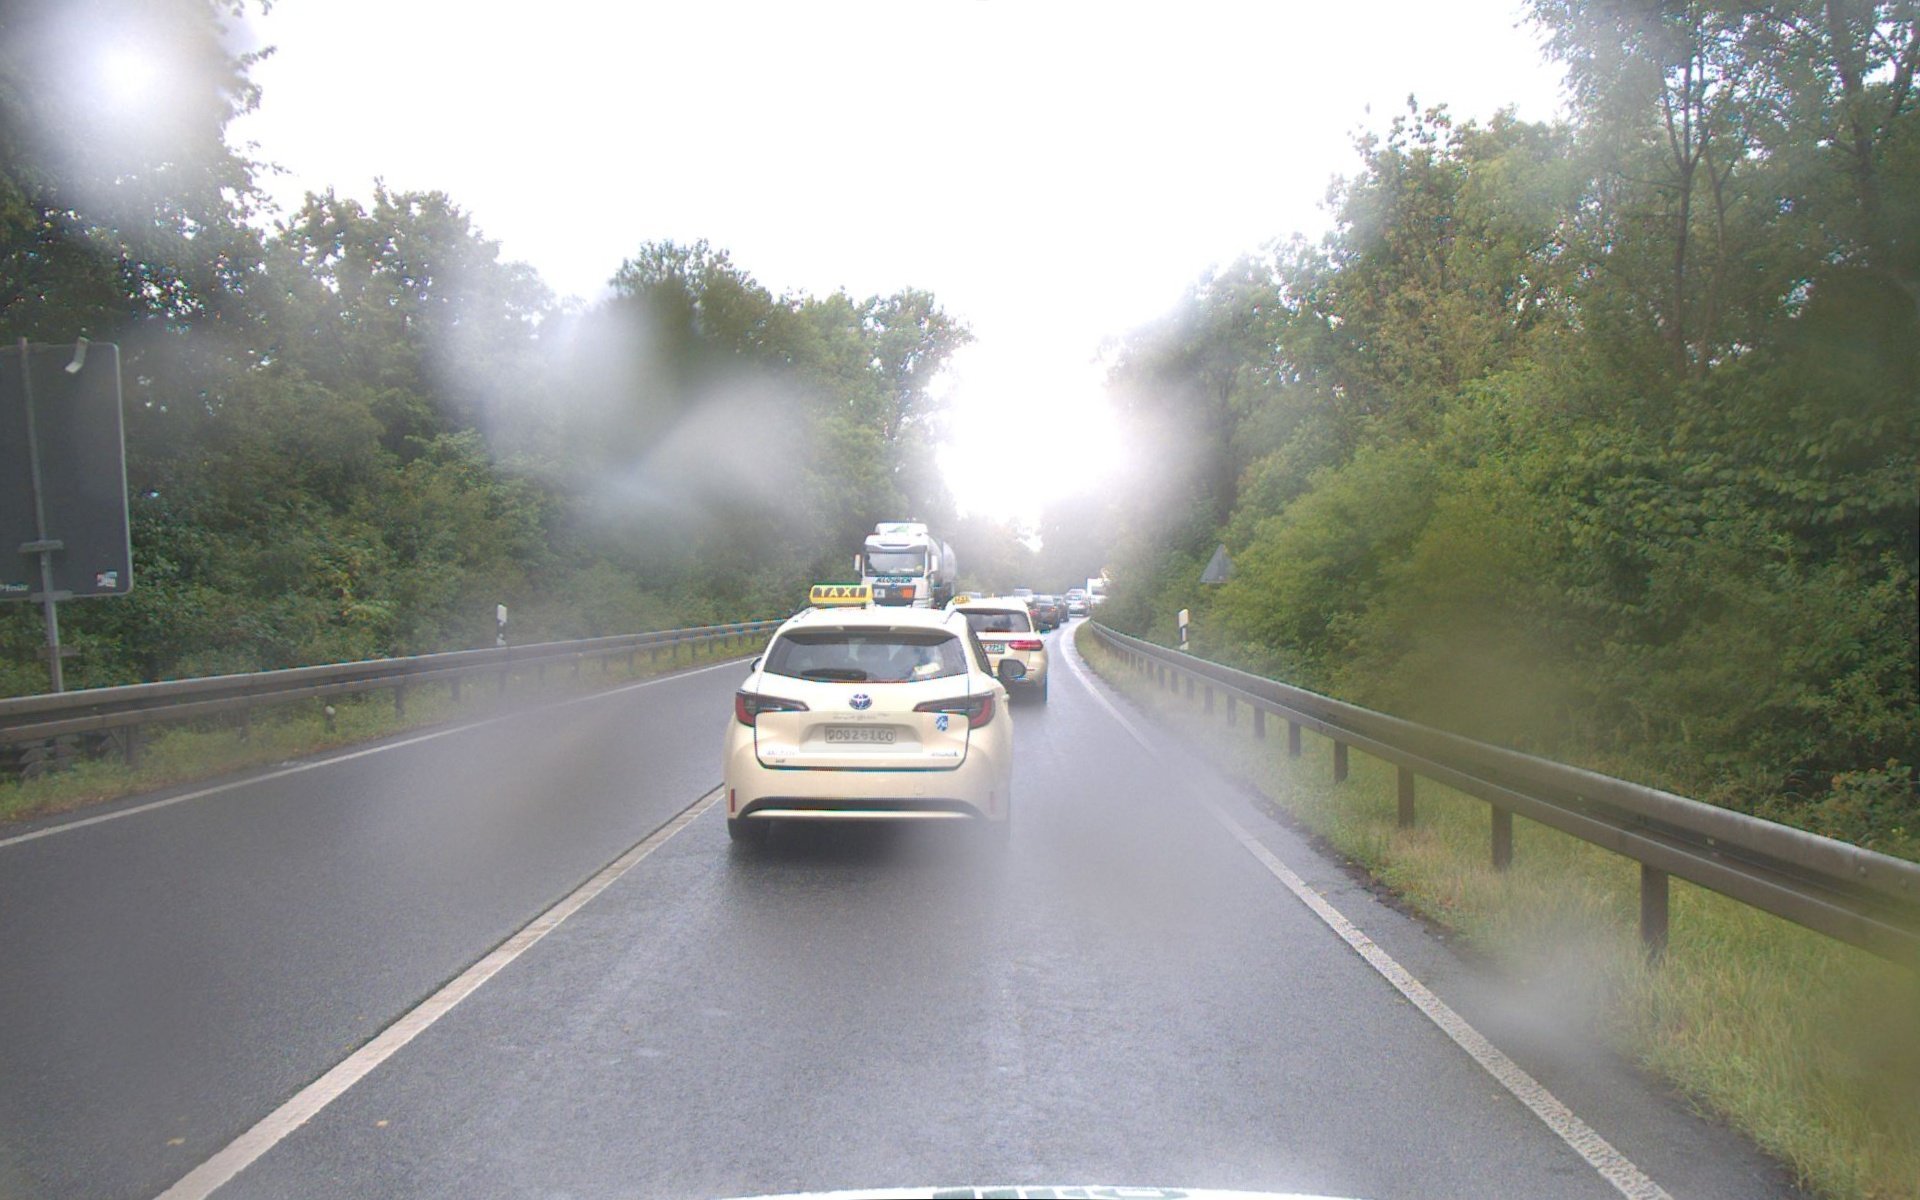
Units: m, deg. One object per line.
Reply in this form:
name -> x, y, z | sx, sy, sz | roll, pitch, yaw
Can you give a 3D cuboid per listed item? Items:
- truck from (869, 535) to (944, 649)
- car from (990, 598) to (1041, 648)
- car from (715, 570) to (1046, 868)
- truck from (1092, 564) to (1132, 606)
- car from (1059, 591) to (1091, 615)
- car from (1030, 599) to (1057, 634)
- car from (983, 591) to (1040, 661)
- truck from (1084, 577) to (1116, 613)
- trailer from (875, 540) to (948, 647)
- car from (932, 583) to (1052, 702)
truck -> -1.878, -0.246, 59.716 | 2.484, 3.892, 5.244 | 1, -1, 0
car -> 1.820, 0.723, 53.639 | 1.577, 1.574, 3.815 | 0, 0, 3
car -> -0.451, 0.672, 11.206 | 1.796, 1.608, 4.156 | 1, 0, 0
truck -> 14.251, -1.387, 154.482 | 3.041, 3.745, 7.006 | 1, -1, 10
car -> 7.773, 0.213, 111.582 | 1.732, 1.574, 3.817 | 1, 0, 9
car -> 3.848, 0.772, 76.116 | 1.142, 1.574, 2.605 | 1, -1, 4
car -> 1.212, 0.609, 39.241 | 1.274, 1.574, 3.260 | 1, -1, 1
truck -> 11.300, -0.345, 134.085 | 2.496, 2.760, 7.538 | 1, 0, 4
trailer -> -1.811, -0.204, 65.089 | 2.484, 3.892, 7.792 | 1, -1, 1
car -> 0.535, 0.604, 24.778 | 1.633, 1.608, 3.893 | 1, 0, 3
